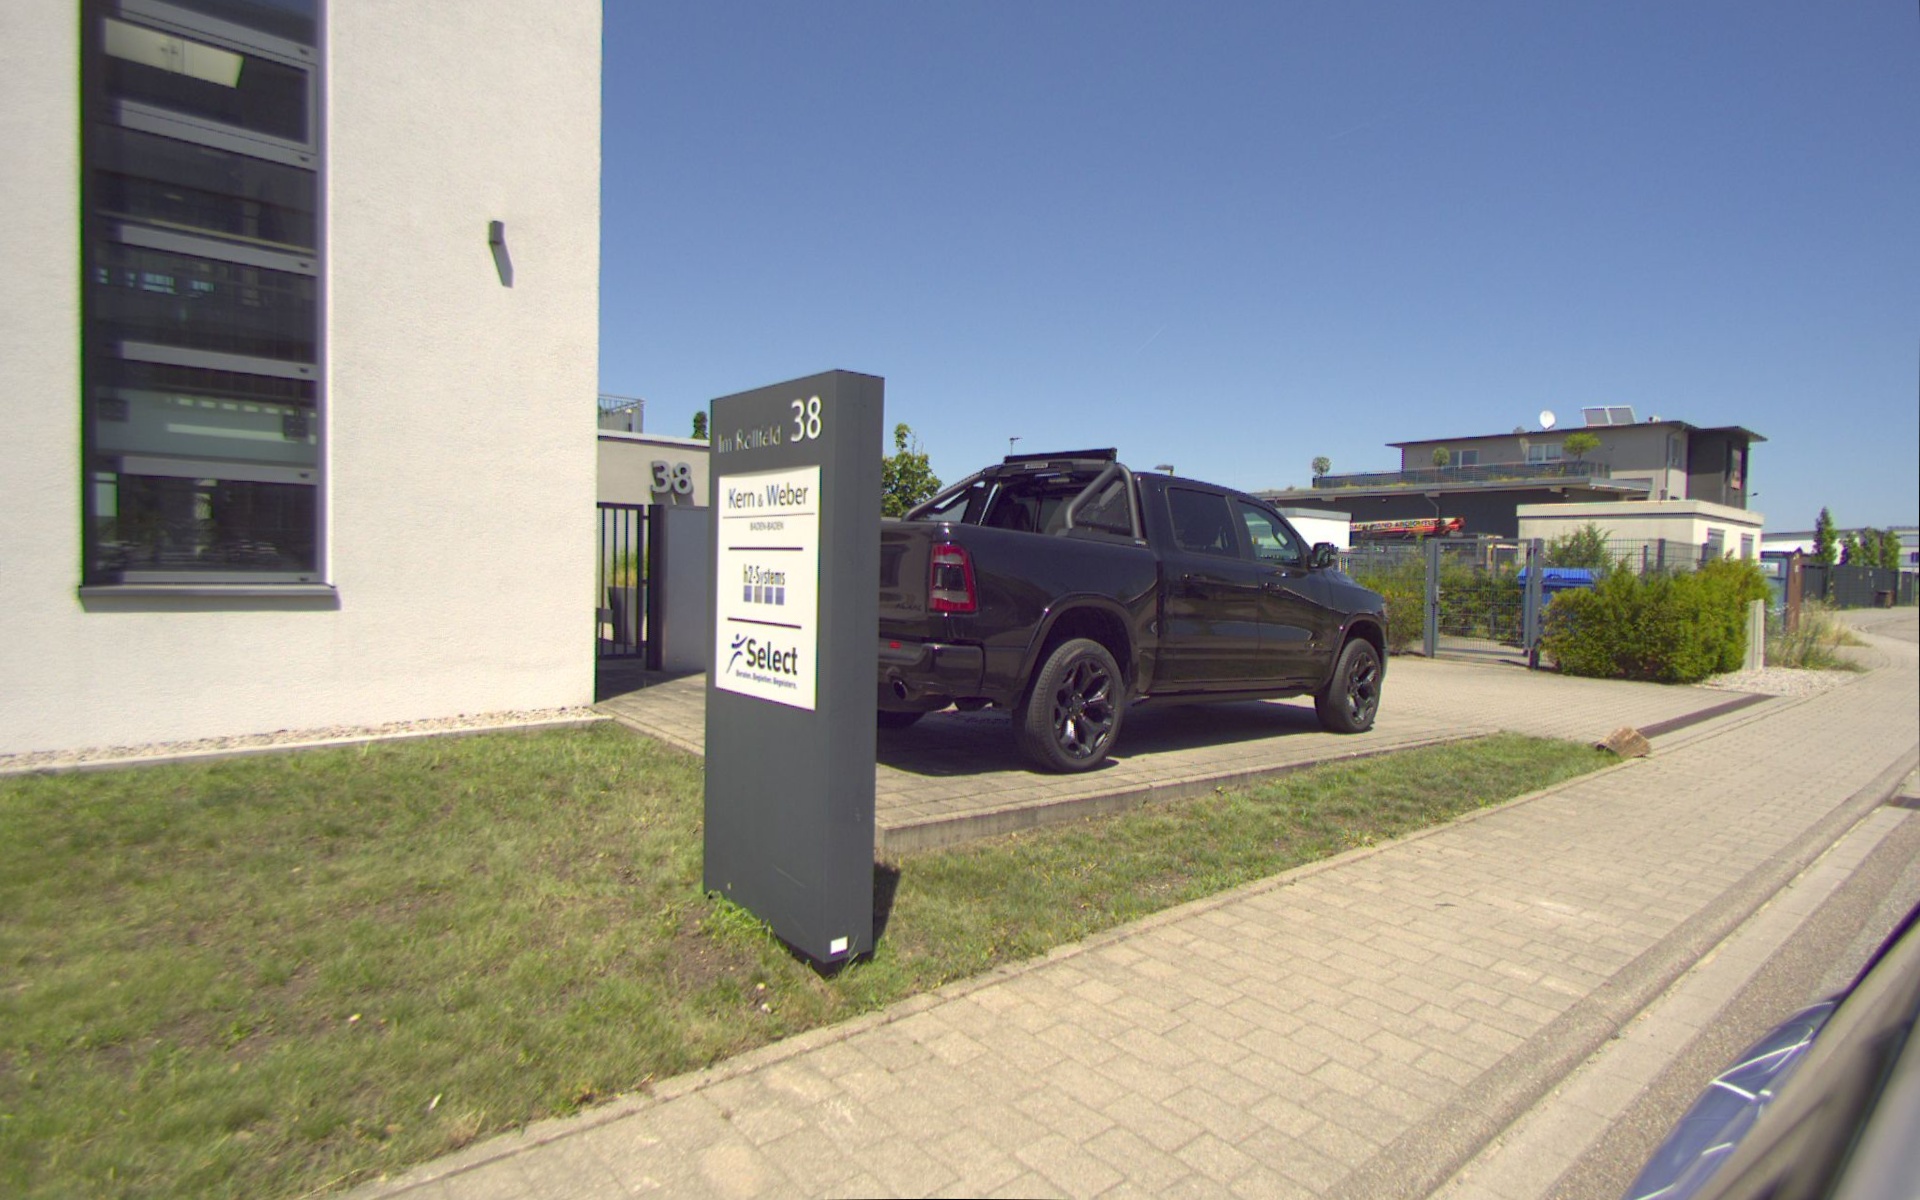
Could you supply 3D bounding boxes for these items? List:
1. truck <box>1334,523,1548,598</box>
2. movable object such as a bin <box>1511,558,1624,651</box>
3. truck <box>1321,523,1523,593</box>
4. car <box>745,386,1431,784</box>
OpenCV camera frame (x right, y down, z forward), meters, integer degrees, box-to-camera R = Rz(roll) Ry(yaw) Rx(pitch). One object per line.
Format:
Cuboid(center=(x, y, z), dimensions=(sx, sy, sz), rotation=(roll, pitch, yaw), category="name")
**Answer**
Cuboid(center=(21.290, -1.739, 45.326), dimensions=(2.578, 3.059, 8.352), rotation=(-1, 2, -39), category="truck")
Cuboid(center=(10.746, 0.052, 17.918), dimensions=(1.150, 1.541, 1.386), rotation=(0, 2, -41), category="movable object such as a bin")
Cuboid(center=(22.875, -2.049, 50.693), dimensions=(2.642, 3.216, 8.964), rotation=(-1, 2, -39), category="truck")
Cuboid(center=(1.393, -0.045, 7.845), dimensions=(5.700, 2.039, 1.997), rotation=(2, 1, -42), category="car")
